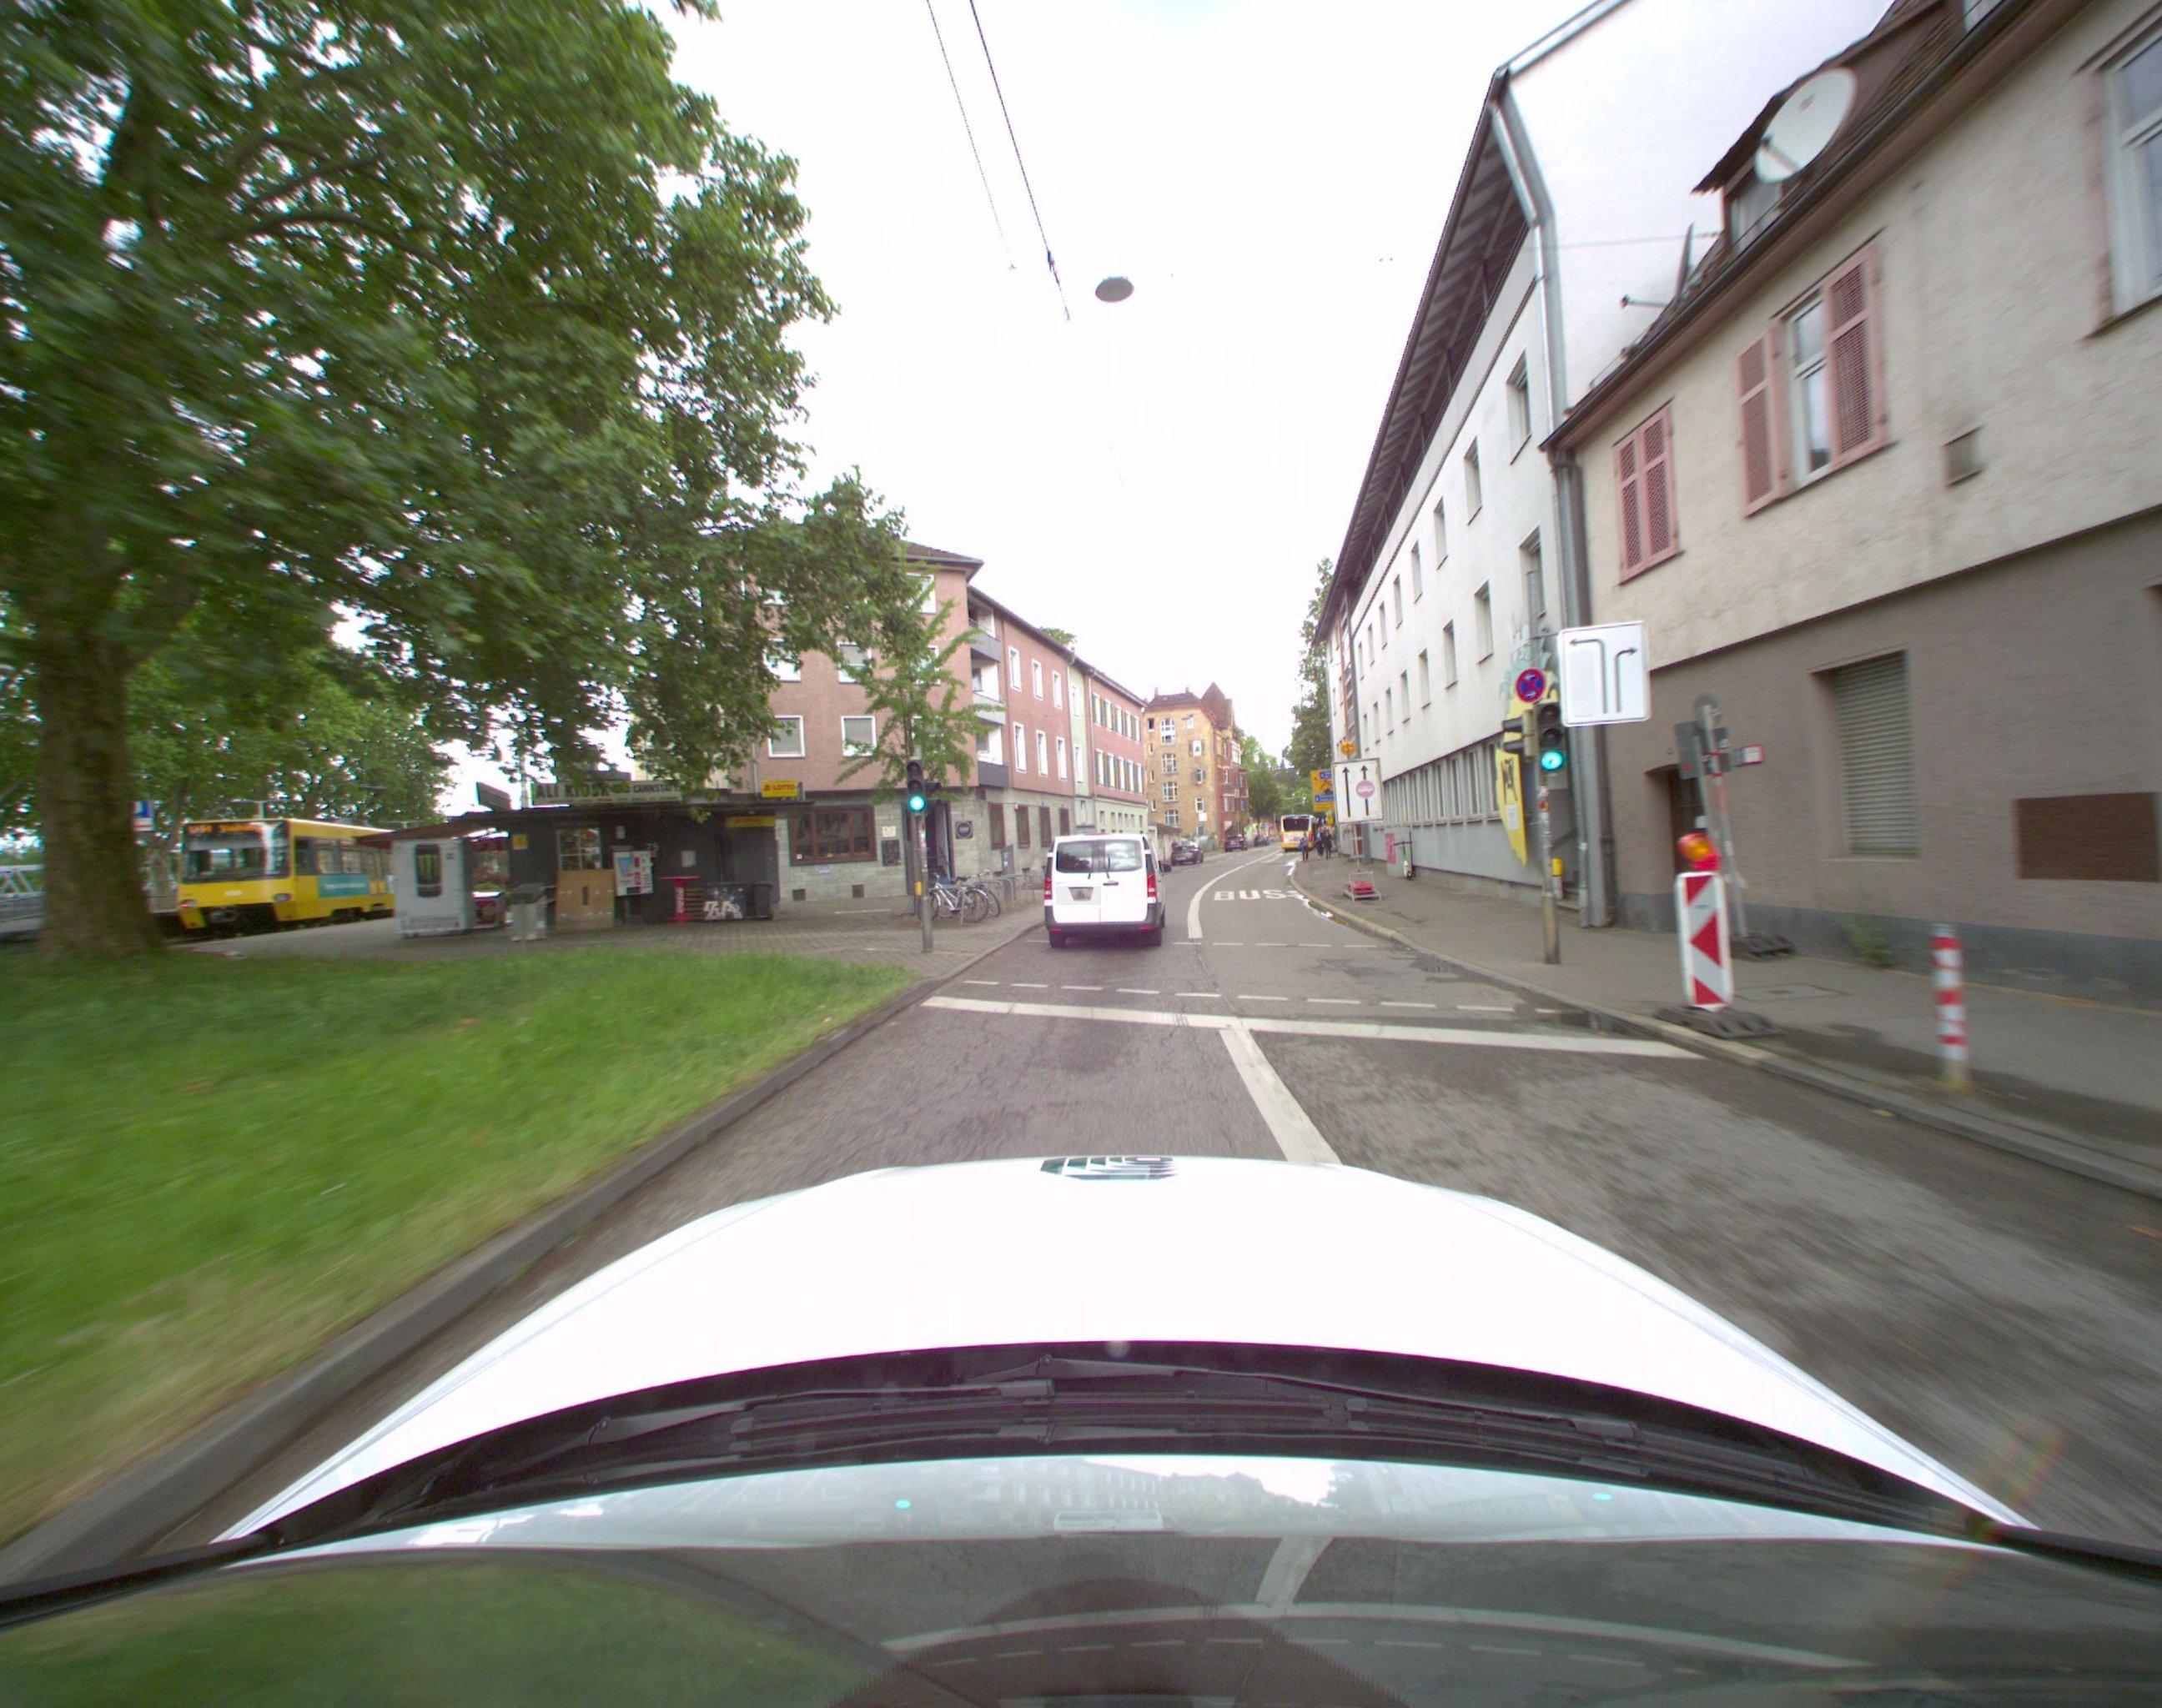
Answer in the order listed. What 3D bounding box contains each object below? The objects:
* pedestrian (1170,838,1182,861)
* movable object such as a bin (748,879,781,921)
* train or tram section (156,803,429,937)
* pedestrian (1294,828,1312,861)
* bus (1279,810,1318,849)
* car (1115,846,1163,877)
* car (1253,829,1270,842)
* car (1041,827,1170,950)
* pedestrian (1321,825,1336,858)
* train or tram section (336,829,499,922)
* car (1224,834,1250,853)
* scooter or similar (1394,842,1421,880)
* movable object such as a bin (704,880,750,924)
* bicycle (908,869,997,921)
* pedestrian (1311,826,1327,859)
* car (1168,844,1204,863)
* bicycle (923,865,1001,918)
[{"bbox_3d":[7.435,-0.377,63.913,0.755,1.744,0.989,-1,0,16],"label":"pedestrian"},{"bbox_3d":[-7.841,1.126,20.157,0.674,0.964,1.070,0,0,-26],"label":"movable object such as a bin"},{"bbox_3d":[-26.103,0.650,27.953,2.928,3.673,10.919,0,-2,-23],"label":"train or tram section"},{"bbox_3d":[12.606,-0.535,46.271,0.798,1.793,0.946,-6,1,12],"label":"pedestrian"},{"bbox_3d":[19.394,-2.209,72.132,2.641,3.135,10.089,-1,1,19],"label":"bus"},{"bbox_3d":[3.114,0.364,42.982,1.817,1.455,4.937,-3,0,11],"label":"car"},{"bbox_3d":[24.394,-2.558,109.995,1.710,1.485,4.413,-3,3,19],"label":"car"},{"bbox_3d":[0.624,0.551,14.957,1.907,1.901,4.710,-1,0,7],"label":"car"},{"bbox_3d":[13.617,-0.698,44.809,0.537,1.756,0.612,-6,1,25],"label":"pedestrian"},{"bbox_3d":[-30.381,1.073,37.989,2.928,3.673,10.919,0,-2,-23],"label":"train or tram section"},{"bbox_3d":[16.207,-1.163,84.587,1.938,1.733,4.797,-3,1,18],"label":"car"},{"bbox_3d":[10.034,0.201,25.031,0.425,1.097,1.444,-5,0,11],"label":"scooter or similar"},{"bbox_3d":[-8.600,1.146,19.769,0.970,0.964,1.103,0,0,-26],"label":"movable object such as a bin"},{"bbox_3d":[-2.862,0.918,18.124,1.856,1.114,0.580,-1,0,14],"label":"bicycle"},{"bbox_3d":[13.351,-0.646,45.690,0.682,1.756,0.881,-6,1,12],"label":"pedestrian"},{"bbox_3d":[7.593,-0.006,58.600,1.979,1.290,4.016,-1,0,15],"label":"car"},{"bbox_3d":[-2.825,0.886,19.450,1.800,1.176,0.723,-1,0,-7],"label":"bicycle"}]
